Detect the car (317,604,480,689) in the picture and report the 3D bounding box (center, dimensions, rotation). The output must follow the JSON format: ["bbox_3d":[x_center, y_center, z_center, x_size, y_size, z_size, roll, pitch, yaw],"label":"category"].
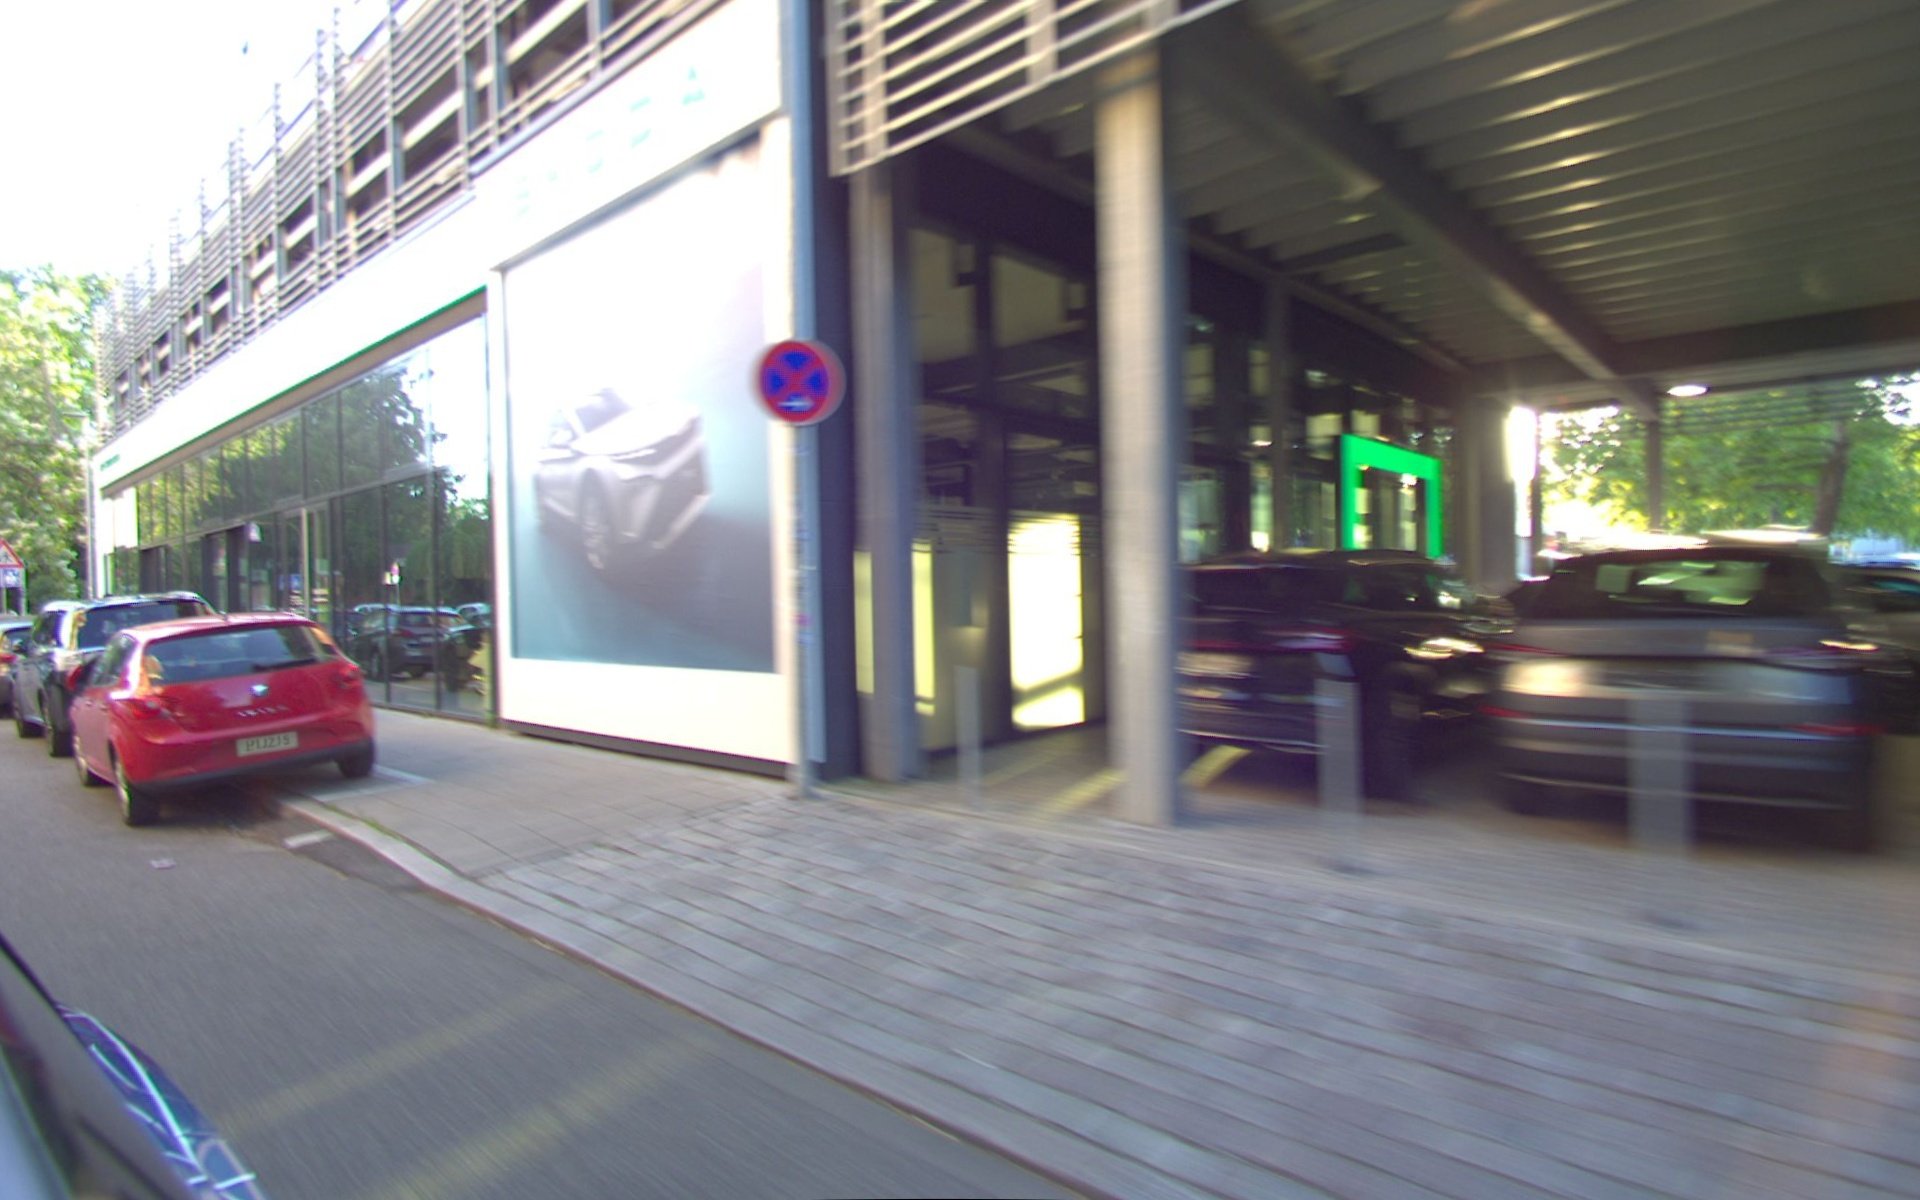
[{"bbox_3d":[-11.459,0.911,20.550,3.993,1.526,1.679,-2,0,42],"label":"car"}]

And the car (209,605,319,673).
[{"bbox_3d":[-18.866,1.032,27.377,3.875,1.662,1.576,-2,0,42],"label":"car"}]

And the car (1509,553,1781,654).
[{"bbox_3d":[12.365,0.062,18.393,3.870,1.629,1.798,-1,1,42],"label":"car"}]

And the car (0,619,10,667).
[{"bbox_3d":[-30.965,1.432,31.378,4.411,1.426,1.645,-2,5,41],"label":"car"}]

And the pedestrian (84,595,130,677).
[{"bbox_3d":[-20.104,0.842,23.850,0.620,1.892,0.713,-3,-1,43],"label":"pedestrian"}]

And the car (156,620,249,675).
[{"bbox_3d":[-23.466,1.443,31.307,3.875,1.534,1.576,-2,0,42],"label":"car"}]

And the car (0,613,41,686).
[{"bbox_3d":[-22.497,1.176,23.210,3.884,1.508,1.644,-2,5,43],"label":"car"}]

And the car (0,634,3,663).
[{"bbox_3d":[-34.279,1.489,34.500,3.877,1.525,1.647,-2,3,36],"label":"car"}]

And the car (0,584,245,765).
[{"bbox_3d":[-10.141,0.780,12.078,4.402,1.769,1.679,-2,0,42],"label":"car"}]

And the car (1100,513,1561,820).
[{"bbox_3d":[3.008,0.355,7.709,1.860,1.696,3.999,-3,-1,43],"label":"car"}]

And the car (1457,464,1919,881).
[{"bbox_3d":[4.706,0.280,6.178,1.860,1.696,4.120,-3,-1,43],"label":"car"}]

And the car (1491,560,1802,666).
[{"bbox_3d":[10.823,0.187,16.093,3.870,1.464,1.798,-1,1,42],"label":"car"}]

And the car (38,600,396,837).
[{"bbox_3d":[-6.373,0.823,8.521,3.789,1.517,1.679,-2,0,42],"label":"car"}]

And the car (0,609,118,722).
[{"bbox_3d":[-15.282,1.037,16.507,4.206,1.609,1.916,-3,-1,44],"label":"car"}]

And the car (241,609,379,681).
[{"bbox_3d":[-15.460,1.024,23.992,4.191,1.526,1.679,-2,0,42],"label":"car"}]

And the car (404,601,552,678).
[{"bbox_3d":[-11.677,0.927,24.383,4.324,1.671,1.679,-2,0,42],"label":"car"}]

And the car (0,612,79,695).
[{"bbox_3d":[-19.036,1.071,20.070,4.004,1.412,1.712,-2,5,41],"label":"car"}]

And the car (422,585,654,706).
[{"bbox_3d":[-6.836,0.678,16.152,4.408,1.671,1.679,-2,0,42],"label":"car"}]

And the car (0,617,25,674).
[{"bbox_3d":[-26.934,1.314,27.431,3.922,1.420,1.646,-2,5,39],"label":"car"}]
